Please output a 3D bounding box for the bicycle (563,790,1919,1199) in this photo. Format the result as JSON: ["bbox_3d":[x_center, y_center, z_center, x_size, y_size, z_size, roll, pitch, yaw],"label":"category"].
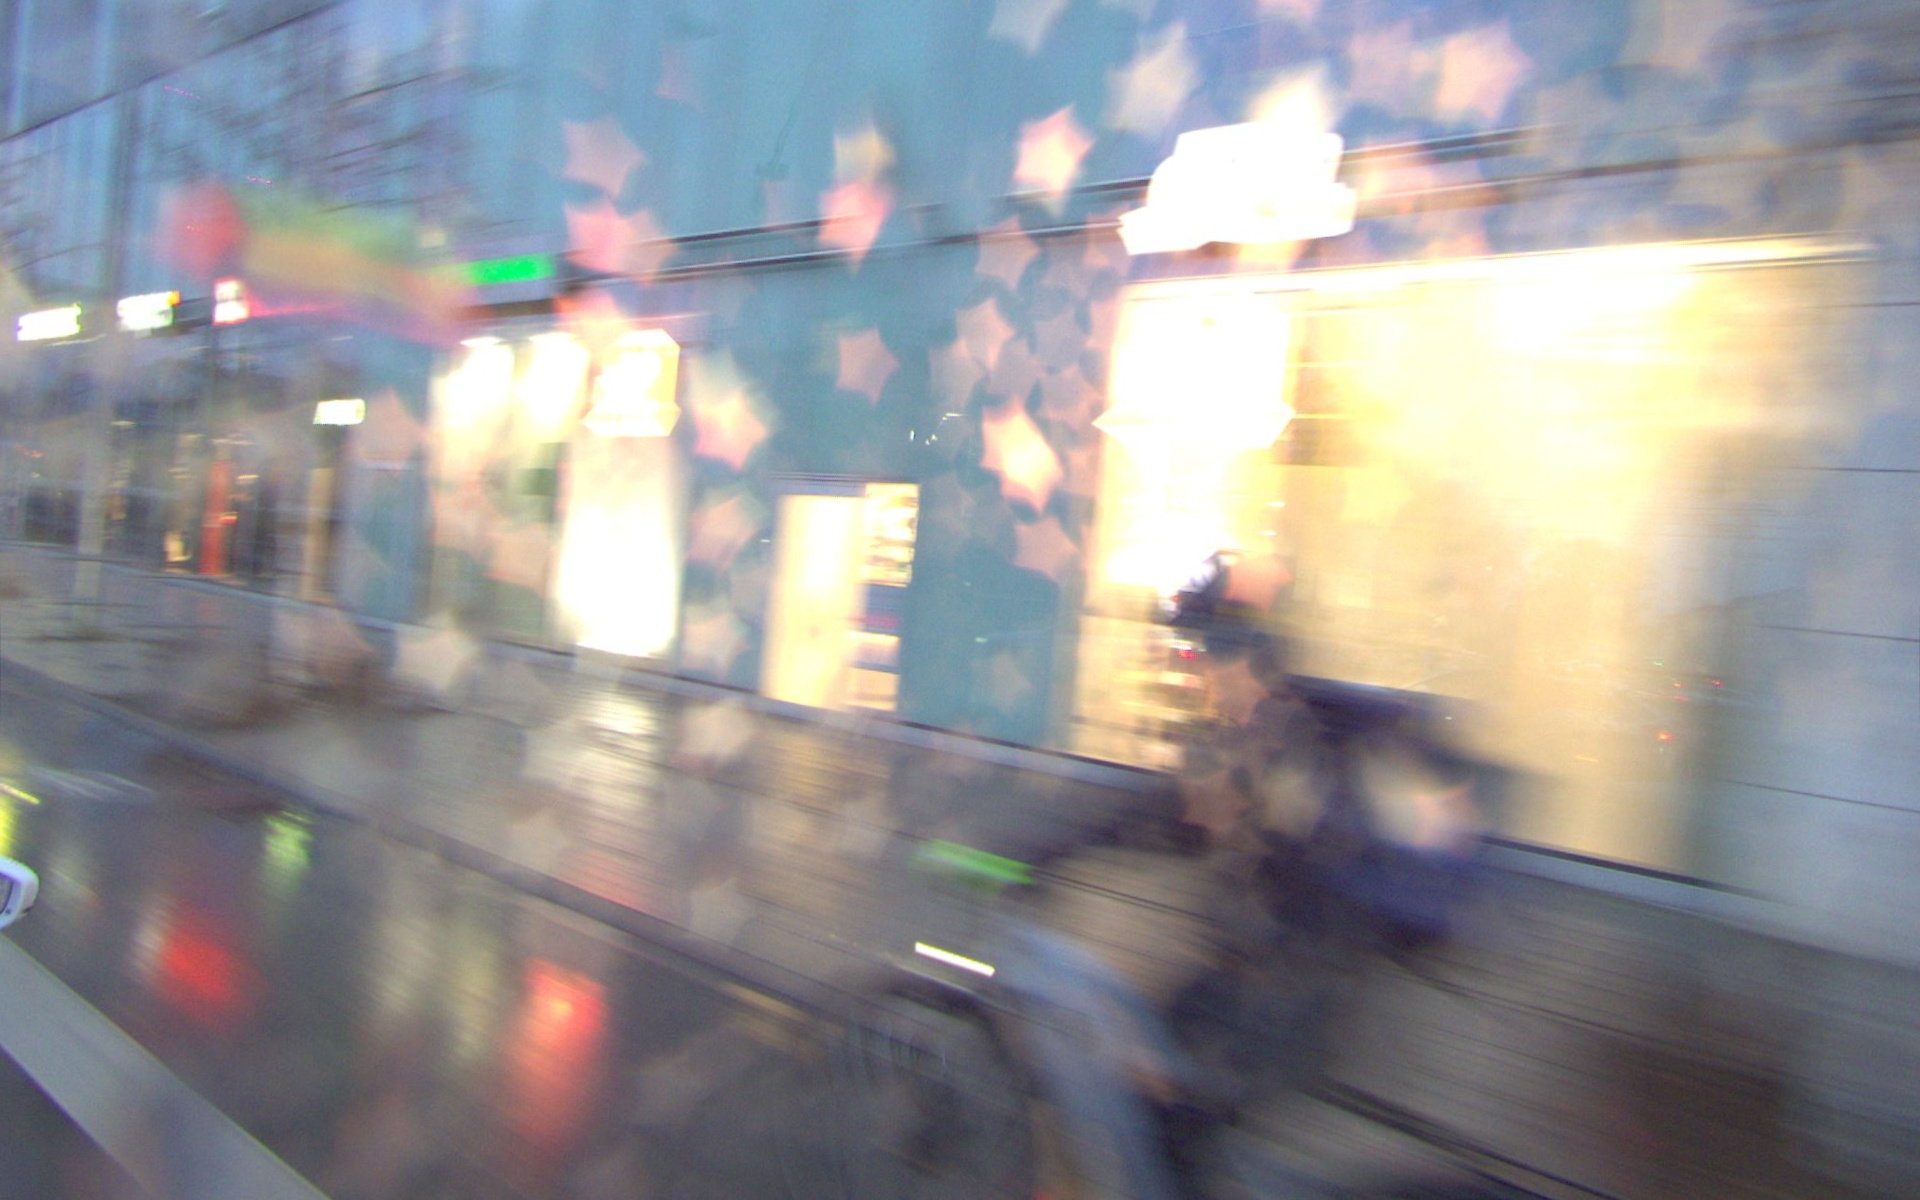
[{"bbox_3d":[0.372,1.090,1.774,2.206,1.011,0.943,7,-1,37],"label":"bicycle"}]

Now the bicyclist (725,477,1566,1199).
[{"bbox_3d":[0.344,0.611,1.801,1.050,1.481,0.943,7,0,37],"label":"bicyclist"}]

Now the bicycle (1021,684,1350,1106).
[{"bbox_3d":[1.035,1.020,4.170,0.655,1.190,1.904,7,2,31],"label":"bicycle"}]

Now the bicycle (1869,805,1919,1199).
[{"bbox_3d":[3.736,1.371,2.985,1.534,1.277,0.665,7,0,-11],"label":"bicycle"}]
